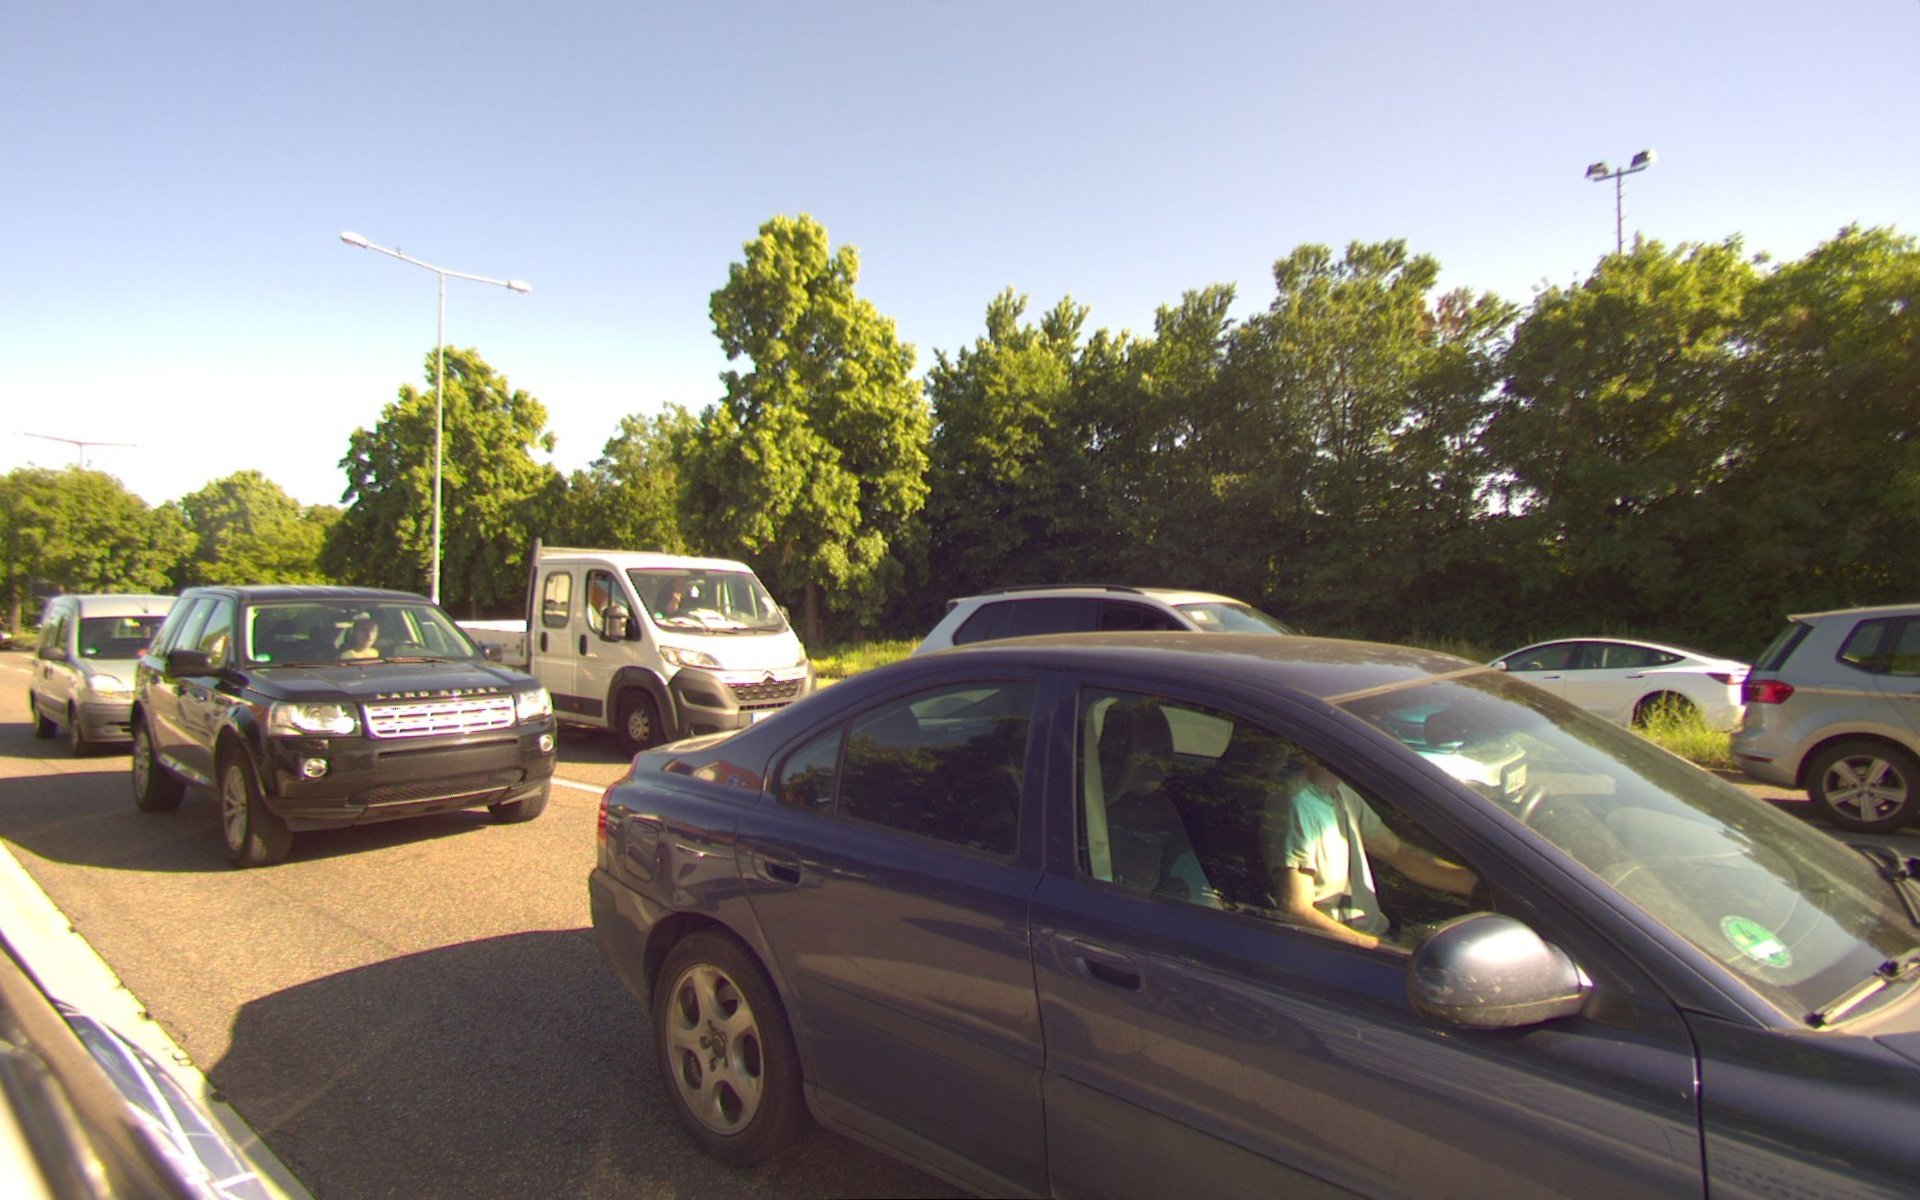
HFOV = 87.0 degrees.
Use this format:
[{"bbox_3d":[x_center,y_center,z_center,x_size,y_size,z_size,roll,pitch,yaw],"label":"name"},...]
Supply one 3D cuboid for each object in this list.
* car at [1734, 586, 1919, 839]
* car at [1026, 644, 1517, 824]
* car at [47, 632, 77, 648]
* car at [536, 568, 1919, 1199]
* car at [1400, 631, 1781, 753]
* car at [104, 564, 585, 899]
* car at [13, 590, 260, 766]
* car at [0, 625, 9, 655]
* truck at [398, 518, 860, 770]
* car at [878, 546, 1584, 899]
[{"bbox_3d":[7.639,0.725,6.407,4.206,1.623,1.810,-2,-3,42],"label":"car"},{"bbox_3d":[3.039,1.197,10.534,4.550,1.440,1.811,-2,-3,41],"label":"car"},{"bbox_3d":[-94.931,4.200,107.029,3.998,1.697,1.854,-2,-3,41],"label":"car"},{"bbox_3d":[0.900,0.697,2.418,4.454,1.463,1.757,-1,0,41],"label":"car"},{"bbox_3d":[9.139,1.235,14.932,4.503,1.536,1.868,-2,-3,43],"label":"car"},{"bbox_3d":[-4.687,0.708,7.414,4.384,1.744,1.793,-1,-1,41],"label":"car"},{"bbox_3d":[-10.044,0.803,12.215,4.384,1.765,1.611,-1,-1,41],"label":"car"},{"bbox_3d":[-50.252,2.060,51.976,3.929,1.486,1.682,-2,-2,41],"label":"car"},{"bbox_3d":[-4.382,0.444,12.431,6.838,2.337,2.158,-1,-1,40],"label":"truck"},{"bbox_3d":[1.668,0.673,7.176,4.422,1.723,1.973,-2,-3,41],"label":"car"}]
